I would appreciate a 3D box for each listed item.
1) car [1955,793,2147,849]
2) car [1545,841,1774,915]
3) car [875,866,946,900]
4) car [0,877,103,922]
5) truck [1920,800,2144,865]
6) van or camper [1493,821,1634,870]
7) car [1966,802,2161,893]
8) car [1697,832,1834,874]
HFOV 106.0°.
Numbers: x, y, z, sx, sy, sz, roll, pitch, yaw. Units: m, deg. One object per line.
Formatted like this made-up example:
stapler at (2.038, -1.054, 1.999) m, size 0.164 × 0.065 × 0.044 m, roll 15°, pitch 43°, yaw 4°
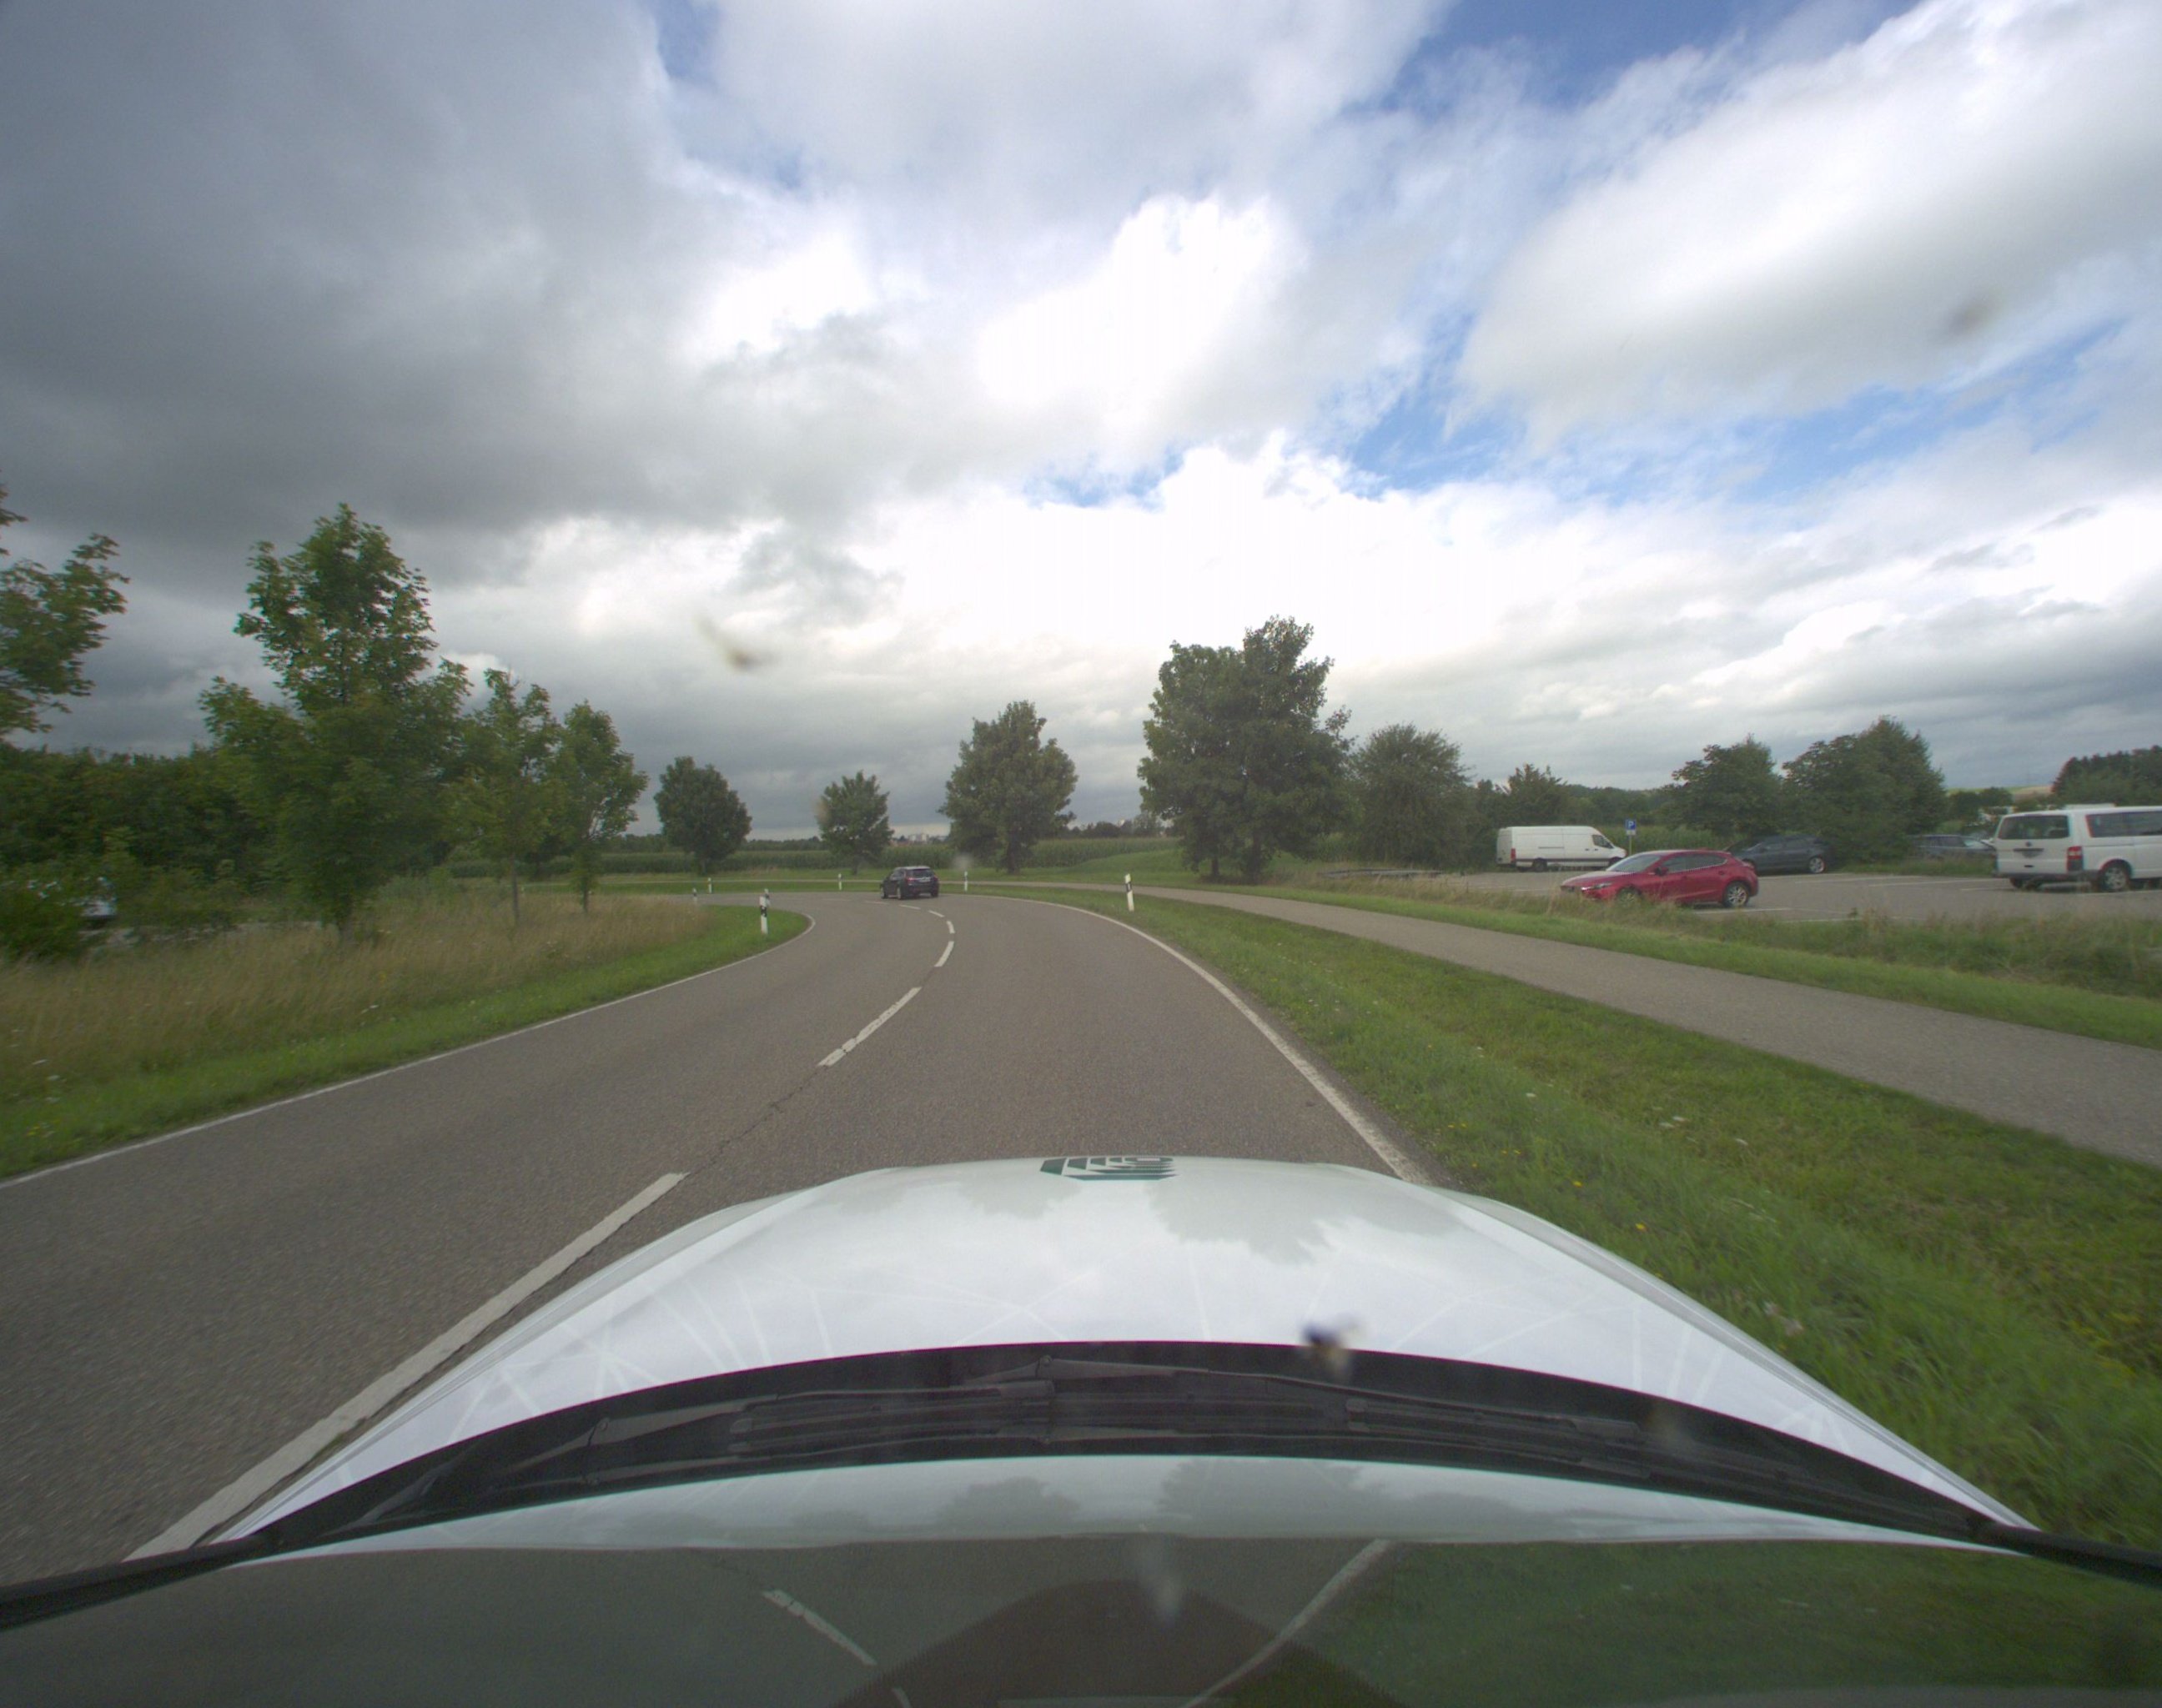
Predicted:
car at (29.865, -0.984, 25.141) m, size 3.984 × 1.596 × 1.995 m, roll -1°, pitch 0°, yaw -8°
car at (14.283, 0.560, 20.298) m, size 4.317 × 1.575 × 1.970 m, roll -2°, pitch 0°, yaw -2°
car at (-7.992, 1.307, 37.908) m, size 1.855 × 1.417 × 3.957 m, roll -1°, pitch 0°, yaw -34°
car at (-35.922, 1.537, 27.183) m, size 3.997 × 1.380 × 1.467 m, roll -1°, pitch 0°, yaw -18°
truck at (43.422, -0.947, 37.355) m, size 6.854 × 2.715 × 2.832 m, roll -1°, pitch 0°, yaw 1°
van or camper at (27.281, -0.482, 46.193) m, size 6.714 × 2.562 × 2.050 m, roll -1°, pitch 0°, yaw 3°
car at (25.340, -0.225, 19.914) m, size 5.012 × 2.000 × 2.230 m, roll -2°, pitch 0°, yaw -2°
car at (25.233, -0.045, 30.125) m, size 3.612 × 1.440 × 1.707 m, roll -1°, pitch 0°, yaw 1°
